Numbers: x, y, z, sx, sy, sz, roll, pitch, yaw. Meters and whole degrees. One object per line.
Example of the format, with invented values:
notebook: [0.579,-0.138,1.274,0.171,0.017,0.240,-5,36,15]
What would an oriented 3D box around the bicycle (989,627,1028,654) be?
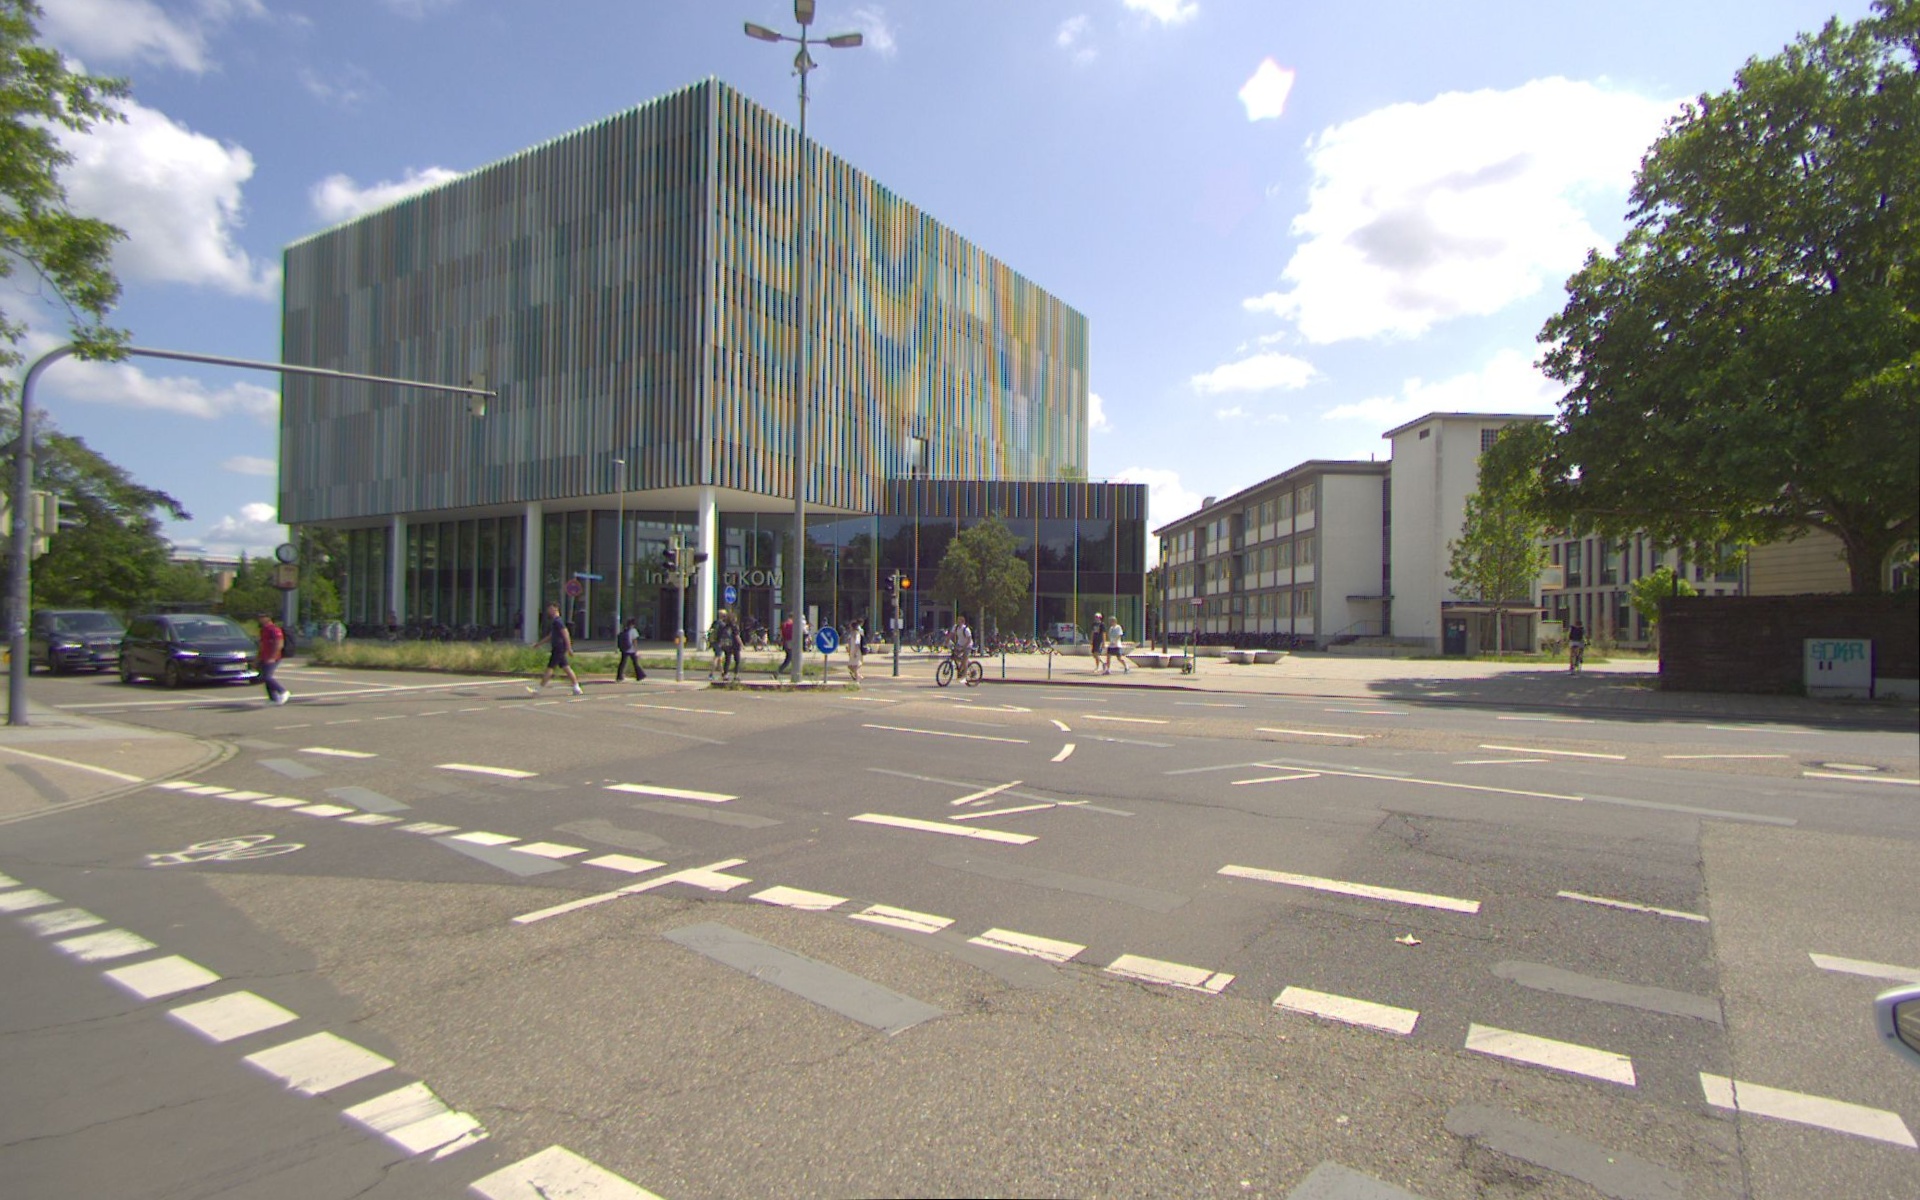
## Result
bicycle: [2.425,2.027,50.871,1.180,1.253,2.944,2,-1,-13]

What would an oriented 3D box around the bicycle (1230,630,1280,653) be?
bicycle: [19.185,2.677,65.452,2.909,1.381,1.116,2,-1,-6]

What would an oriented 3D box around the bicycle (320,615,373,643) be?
bicycle: [-42.283,2.022,69.288,0.946,1.863,2.944,1,-2,32]

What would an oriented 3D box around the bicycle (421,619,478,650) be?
bicycle: [-31.408,2.136,61.850,0.946,1.863,2.942,1,-2,35]

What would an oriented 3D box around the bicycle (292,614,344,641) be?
bicycle: [-45.596,1.982,71.368,0.946,1.863,2.944,1,-2,32]

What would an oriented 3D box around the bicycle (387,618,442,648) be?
bicycle: [-34.864,2.102,64.297,0.946,1.863,2.943,1,-2,34]

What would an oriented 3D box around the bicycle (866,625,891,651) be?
bicycle: [-4.083,1.887,50.571,1.178,1.253,2.950,2,-1,-4]

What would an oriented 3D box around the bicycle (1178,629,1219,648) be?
bicycle: [18.616,3.026,78.475,2.909,1.381,1.116,2,-1,-6]

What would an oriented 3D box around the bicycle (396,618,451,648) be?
bicycle: [-34.020,2.111,63.719,0.946,1.863,2.943,1,-2,34]

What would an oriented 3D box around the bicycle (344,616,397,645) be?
bicycle: [-39.616,2.051,67.529,0.972,1.863,2.944,1,-2,32]

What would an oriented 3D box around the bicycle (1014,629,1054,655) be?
bicycle: [3.737,2.116,50.888,1.180,1.253,2.944,2,-1,-13]

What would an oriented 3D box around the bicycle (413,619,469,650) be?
bicycle: [-32.245,2.129,62.484,0.946,1.863,2.942,1,-2,35]

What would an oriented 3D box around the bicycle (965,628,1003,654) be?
bicycle: [1.201,2.046,50.569,1.180,1.253,2.944,2,-1,-13]

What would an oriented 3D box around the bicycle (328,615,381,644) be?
bicycle: [-41.367,2.031,68.670,0.946,1.863,2.944,1,-2,32]

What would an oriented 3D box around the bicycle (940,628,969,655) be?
bicycle: [-0.298,2.073,50.813,1.178,1.253,2.949,2,-1,-5]

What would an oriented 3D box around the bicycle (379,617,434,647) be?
bicycle: [-35.697,2.093,64.854,0.946,1.863,2.943,1,-2,34]

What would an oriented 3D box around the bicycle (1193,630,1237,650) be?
bicycle: [18.557,2.897,73.181,2.909,1.381,1.116,2,-1,-6]

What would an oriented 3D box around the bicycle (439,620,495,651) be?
bicycle: [-29.753,2.152,60.670,0.946,1.863,2.942,1,-2,35]

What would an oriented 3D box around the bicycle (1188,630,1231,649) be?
bicycle: [18.579,2.944,74.923,2.909,1.381,1.116,2,-1,-6]

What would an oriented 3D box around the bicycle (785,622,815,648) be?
bicycle: [-7.983,1.736,50.235,1.178,1.253,2.950,2,-1,-4]

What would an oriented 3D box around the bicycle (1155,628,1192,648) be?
bicycle: [18.156,3.204,85.467,2.909,1.595,1.116,2,-1,-6]

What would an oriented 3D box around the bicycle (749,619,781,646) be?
bicycle: [-9.690,1.622,50.068,1.178,1.253,2.950,2,-1,-4]

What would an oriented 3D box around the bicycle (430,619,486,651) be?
bicycle: [-30.581,2.144,61.252,0.946,1.863,2.942,1,-2,35]

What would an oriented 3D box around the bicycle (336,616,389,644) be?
bicycle: [-40.506,2.042,68.121,0.946,1.863,2.944,1,-2,32]

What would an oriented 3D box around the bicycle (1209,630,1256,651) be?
bicycle: [18.839,2.803,69.546,2.909,1.381,1.116,2,-1,-6]

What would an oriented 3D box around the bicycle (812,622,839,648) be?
bicycle: [-6.720,1.744,50.367,1.178,1.253,2.950,2,-1,-4]

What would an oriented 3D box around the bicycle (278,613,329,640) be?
bicycle: [-47.341,1.947,72.479,0.946,1.863,2.944,1,-2,32]

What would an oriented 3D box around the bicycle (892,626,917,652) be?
bicycle: [-2.820,1.962,50.690,1.178,1.253,2.950,2,-1,-4]

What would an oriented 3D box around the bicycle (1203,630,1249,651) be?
bicycle: [18.763,2.840,70.805,2.909,1.381,1.116,2,-1,-6]

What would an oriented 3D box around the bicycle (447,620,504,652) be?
bicycle: [-28.926,2.160,60.067,0.946,1.863,2.943,1,-2,34]

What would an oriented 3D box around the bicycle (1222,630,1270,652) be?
bicycle: [19.043,2.707,66.920,2.909,1.381,1.116,2,-1,-6]

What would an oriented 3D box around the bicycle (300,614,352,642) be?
bicycle: [-44.605,1.994,70.745,0.946,1.863,2.944,1,-2,32]

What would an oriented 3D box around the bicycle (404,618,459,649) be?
bicycle: [-33.174,2.118,63.088,0.946,1.863,2.943,1,-2,34]

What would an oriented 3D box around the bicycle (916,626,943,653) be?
bicycle: [-1.572,1.975,50.813,1.178,1.253,2.950,2,-1,-4]

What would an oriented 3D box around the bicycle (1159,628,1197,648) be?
bicycle: [18.260,3.182,84.158,2.909,1.595,1.116,2,-1,-6]

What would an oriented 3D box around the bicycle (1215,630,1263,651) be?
bicycle: [18.933,2.742,68.240,2.909,1.381,1.116,2,-1,-6]
